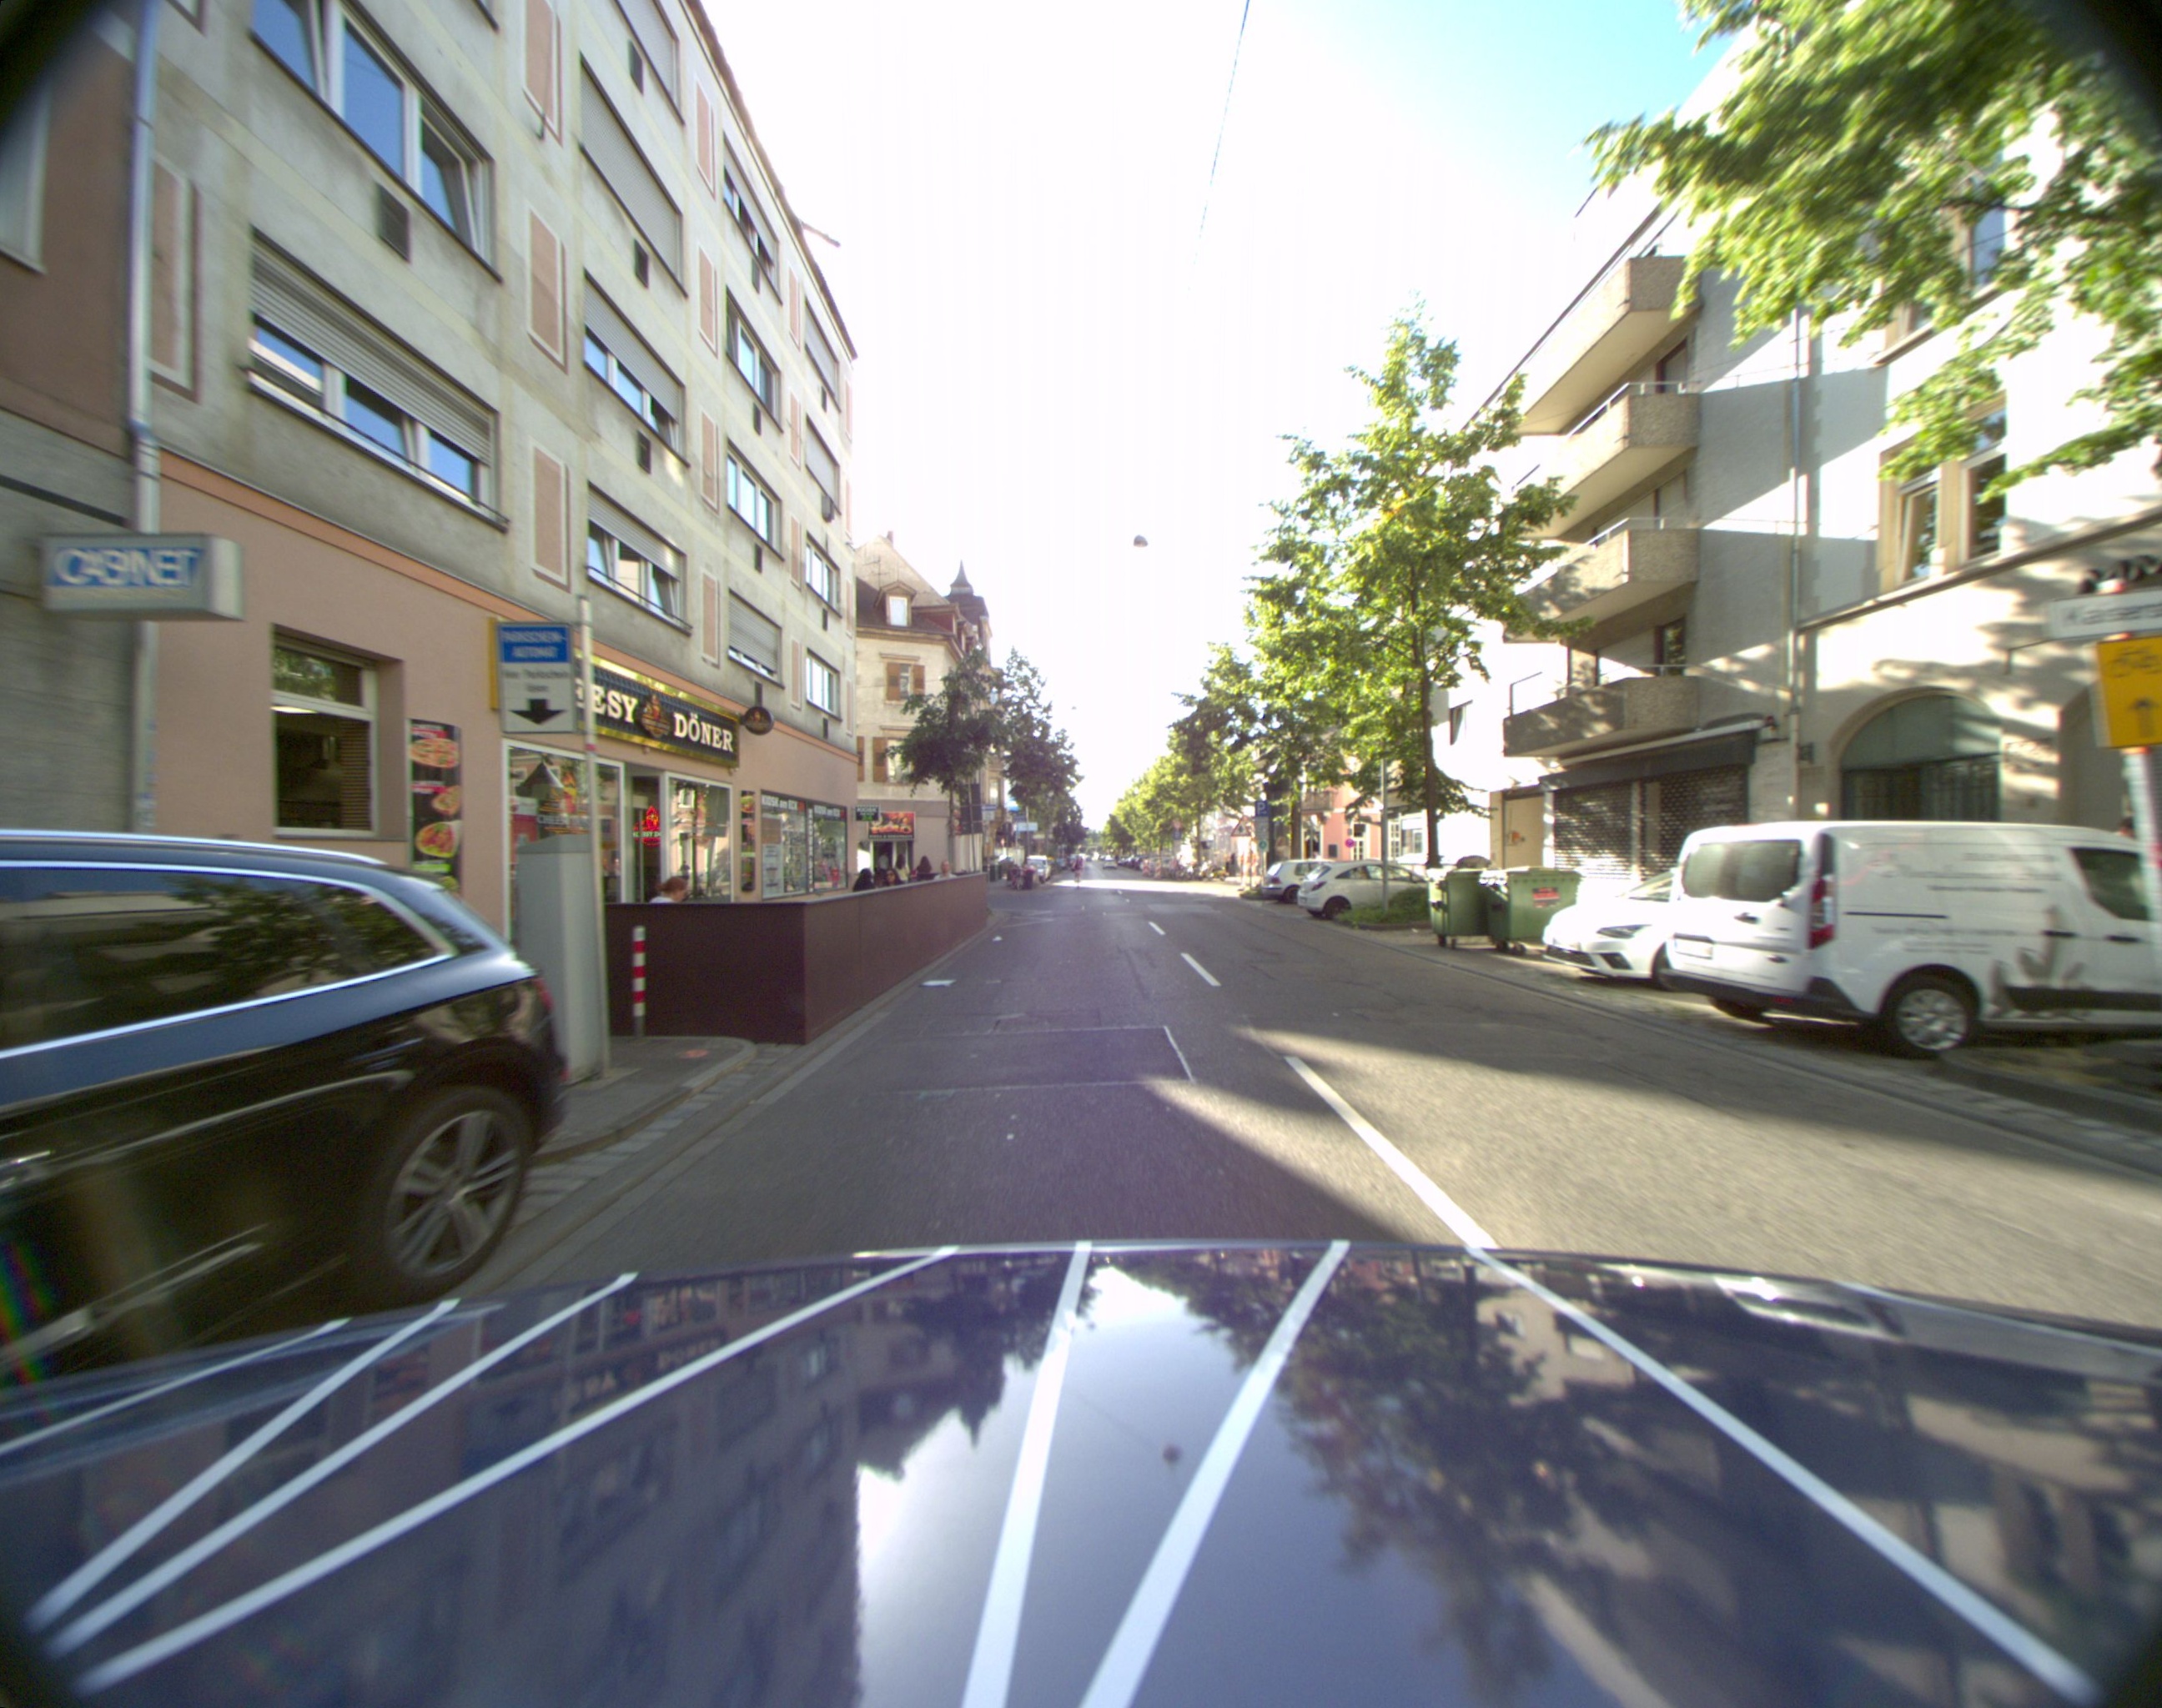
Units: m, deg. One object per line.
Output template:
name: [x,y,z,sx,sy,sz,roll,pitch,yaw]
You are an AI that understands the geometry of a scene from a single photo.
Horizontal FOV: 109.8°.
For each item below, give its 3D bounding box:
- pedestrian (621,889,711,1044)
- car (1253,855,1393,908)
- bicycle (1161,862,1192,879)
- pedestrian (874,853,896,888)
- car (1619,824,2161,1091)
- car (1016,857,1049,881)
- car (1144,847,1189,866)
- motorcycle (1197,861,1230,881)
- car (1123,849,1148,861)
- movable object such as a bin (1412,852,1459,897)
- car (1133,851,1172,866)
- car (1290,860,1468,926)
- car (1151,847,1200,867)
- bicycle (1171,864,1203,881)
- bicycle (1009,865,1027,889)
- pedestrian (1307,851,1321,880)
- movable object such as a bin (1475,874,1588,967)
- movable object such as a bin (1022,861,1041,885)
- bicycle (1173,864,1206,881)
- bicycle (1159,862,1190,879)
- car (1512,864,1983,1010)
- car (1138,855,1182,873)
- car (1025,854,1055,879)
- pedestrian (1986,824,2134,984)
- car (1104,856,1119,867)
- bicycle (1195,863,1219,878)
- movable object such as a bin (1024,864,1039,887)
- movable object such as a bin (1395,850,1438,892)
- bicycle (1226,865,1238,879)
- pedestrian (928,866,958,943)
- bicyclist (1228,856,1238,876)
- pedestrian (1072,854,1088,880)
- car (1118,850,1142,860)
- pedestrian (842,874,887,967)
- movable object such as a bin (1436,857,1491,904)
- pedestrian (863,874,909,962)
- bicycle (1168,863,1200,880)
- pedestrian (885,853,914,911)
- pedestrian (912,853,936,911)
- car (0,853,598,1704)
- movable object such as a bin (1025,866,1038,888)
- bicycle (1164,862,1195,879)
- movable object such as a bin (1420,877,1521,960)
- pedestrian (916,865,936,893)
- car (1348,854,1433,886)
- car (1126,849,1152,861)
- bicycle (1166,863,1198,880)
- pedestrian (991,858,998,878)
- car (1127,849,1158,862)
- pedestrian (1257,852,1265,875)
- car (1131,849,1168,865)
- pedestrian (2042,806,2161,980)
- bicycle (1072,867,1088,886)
pedestrian: [-3.741,0.999,6.878,0.473,1.323,0.483,-1,1,11]
car: [7.857,0.883,24.899,4.008,1.456,1.748,-2,2,0]
bicycle: [6.467,1.110,51.233,2.006,1.023,0.473,-2,1,-12]
pedestrian: [-9.553,0.789,36.963,0.801,1.687,0.705,-2,3,-39]
car: [7.316,0.711,6.381,4.115,1.825,2.038,-2,0,1]
car: [-3.000,0.929,47.922,1.835,1.410,4.159,1,0,0]
car: [8.298,0.237,74.016,4.134,1.670,2.000,-1,1,-1]
motorcycle: [8.371,1.079,48.065,2.004,1.178,0.740,-2,0,3]
car: [9.206,0.171,128.171,4.134,1.792,1.911,-1,1,-1]
movable object such as a bin: [11.934,0.676,25.627,1.035,1.451,1.258,0,0,1]
car: [7.959,0.511,84.682,4.134,1.584,1.911,-1,1,-1]
car: [7.419,0.940,19.151,3.788,1.455,1.710,-2,0,-2]
car: [8.543,0.279,68.587,4.134,1.670,2.000,-1,1,-1]
bicycle: [6.888,1.191,49.353,2.006,1.023,0.473,-2,1,-12]
bicycle: [-3.196,1.137,38.573,0.378,1.139,1.670,0,1,-24]
pedestrian: [14.163,0.680,46.143,0.630,1.716,0.580,-1,0,-3]
movable object such as a bin: [6.980,1.009,11.826,1.195,1.337,0.931,-1,1,0]
movable object such as a bin: [-2.639,0.996,40.247,0.944,1.207,0.699,0,1,1]
bicycle: [6.993,1.178,48.826,2.006,1.023,0.473,-2,1,-12]
bicycle: [6.358,1.129,51.727,2.006,1.023,0.473,-2,1,-12]
car: [7.754,0.917,9.184,3.989,1.455,1.887,-2,0,1]
car: [7.946,0.960,76.526,4.134,1.670,2.000,-1,1,-1]
car: [-2.805,0.854,52.939,1.835,1.641,4.159,1,0,1]
pedestrian: [10.583,0.521,8.241,0.566,1.617,0.727,-5,1,-1]
car: [4.053,1.020,100.957,1.835,1.410,3.833,0,0,1]
bicycle: [8.302,1.106,50.060,1.513,0.945,0.360,-2,1,41]
movable object such as a bin: [-2.582,1.110,39.489,0.721,1.149,0.602,-1,0,3]
movable object such as a bin: [12.002,0.594,27.221,1.035,1.451,1.258,0,0,1]
bicycle: [11.605,1.366,58.419,0.570,1.081,1.652,-1,-1,0]
pedestrian: [-2.779,1.007,15.326,0.474,1.520,0.462,-1,1,2]
bicyclist: [11.597,0.903,57.972,0.570,1.495,0.751,-1,3,0]
pedestrian: [-0.082,0.682,40.717,0.804,1.381,0.931,-2,0,-1]
car: [8.993,0.148,139.152,4.134,1.792,1.911,-1,1,-1]
pedestrian: [-3.323,1.005,11.691,0.474,1.354,0.594,-1,1,1]
movable object such as a bin: [11.904,0.798,23.691,1.080,1.406,1.352,0,0,1]
pedestrian: [-3.163,1.024,12.366,0.553,1.371,0.594,-1,1,1]
bicycle: [6.774,1.146,49.842,2.006,1.023,0.473,-2,1,-12]
pedestrian: [-5.219,0.802,21.850,0.643,1.635,0.748,1,0,-1]
pedestrian: [-4.499,0.800,21.856,0.515,1.635,0.748,1,0,-1]
car: [-3.200,0.879,1.159,1.999,1.680,4.516,2,0,0]
movable object such as a bin: [-2.524,1.155,38.734,0.634,1.062,0.602,0,3,2]
bicycle: [6.588,1.121,50.759,2.006,1.023,0.473,-2,1,-12]
movable object such as a bin: [6.509,1.063,12.754,1.240,1.295,0.870,-1,1,0]
pedestrian: [-7.301,1.173,35.806,0.714,1.252,0.589,-2,3,-39]
car: [15.433,0.776,37.904,3.606,1.468,1.901,-1,0,-22]
car: [9.513,0.142,125.111,4.134,1.792,1.911,-1,1,-1]
bicycle: [6.684,1.132,50.336,2.006,1.023,0.473,-2,1,-12]
pedestrian: [-6.129,0.990,53.915,0.460,1.434,0.521,-1,1,-1]
car: [8.626,0.241,107.352,4.134,1.792,1.911,-1,1,-1]
pedestrian: [13.482,0.706,56.880,0.517,1.716,0.525,0,1,18]
car: [8.021,0.370,89.694,4.134,1.792,1.911,-1,1,-1]
pedestrian: [11.361,0.394,8.254,0.776,1.756,0.763,-5,1,-1]
bicycle: [-0.075,1.189,40.711,0.805,0.958,1.996,-2,0,-1]
